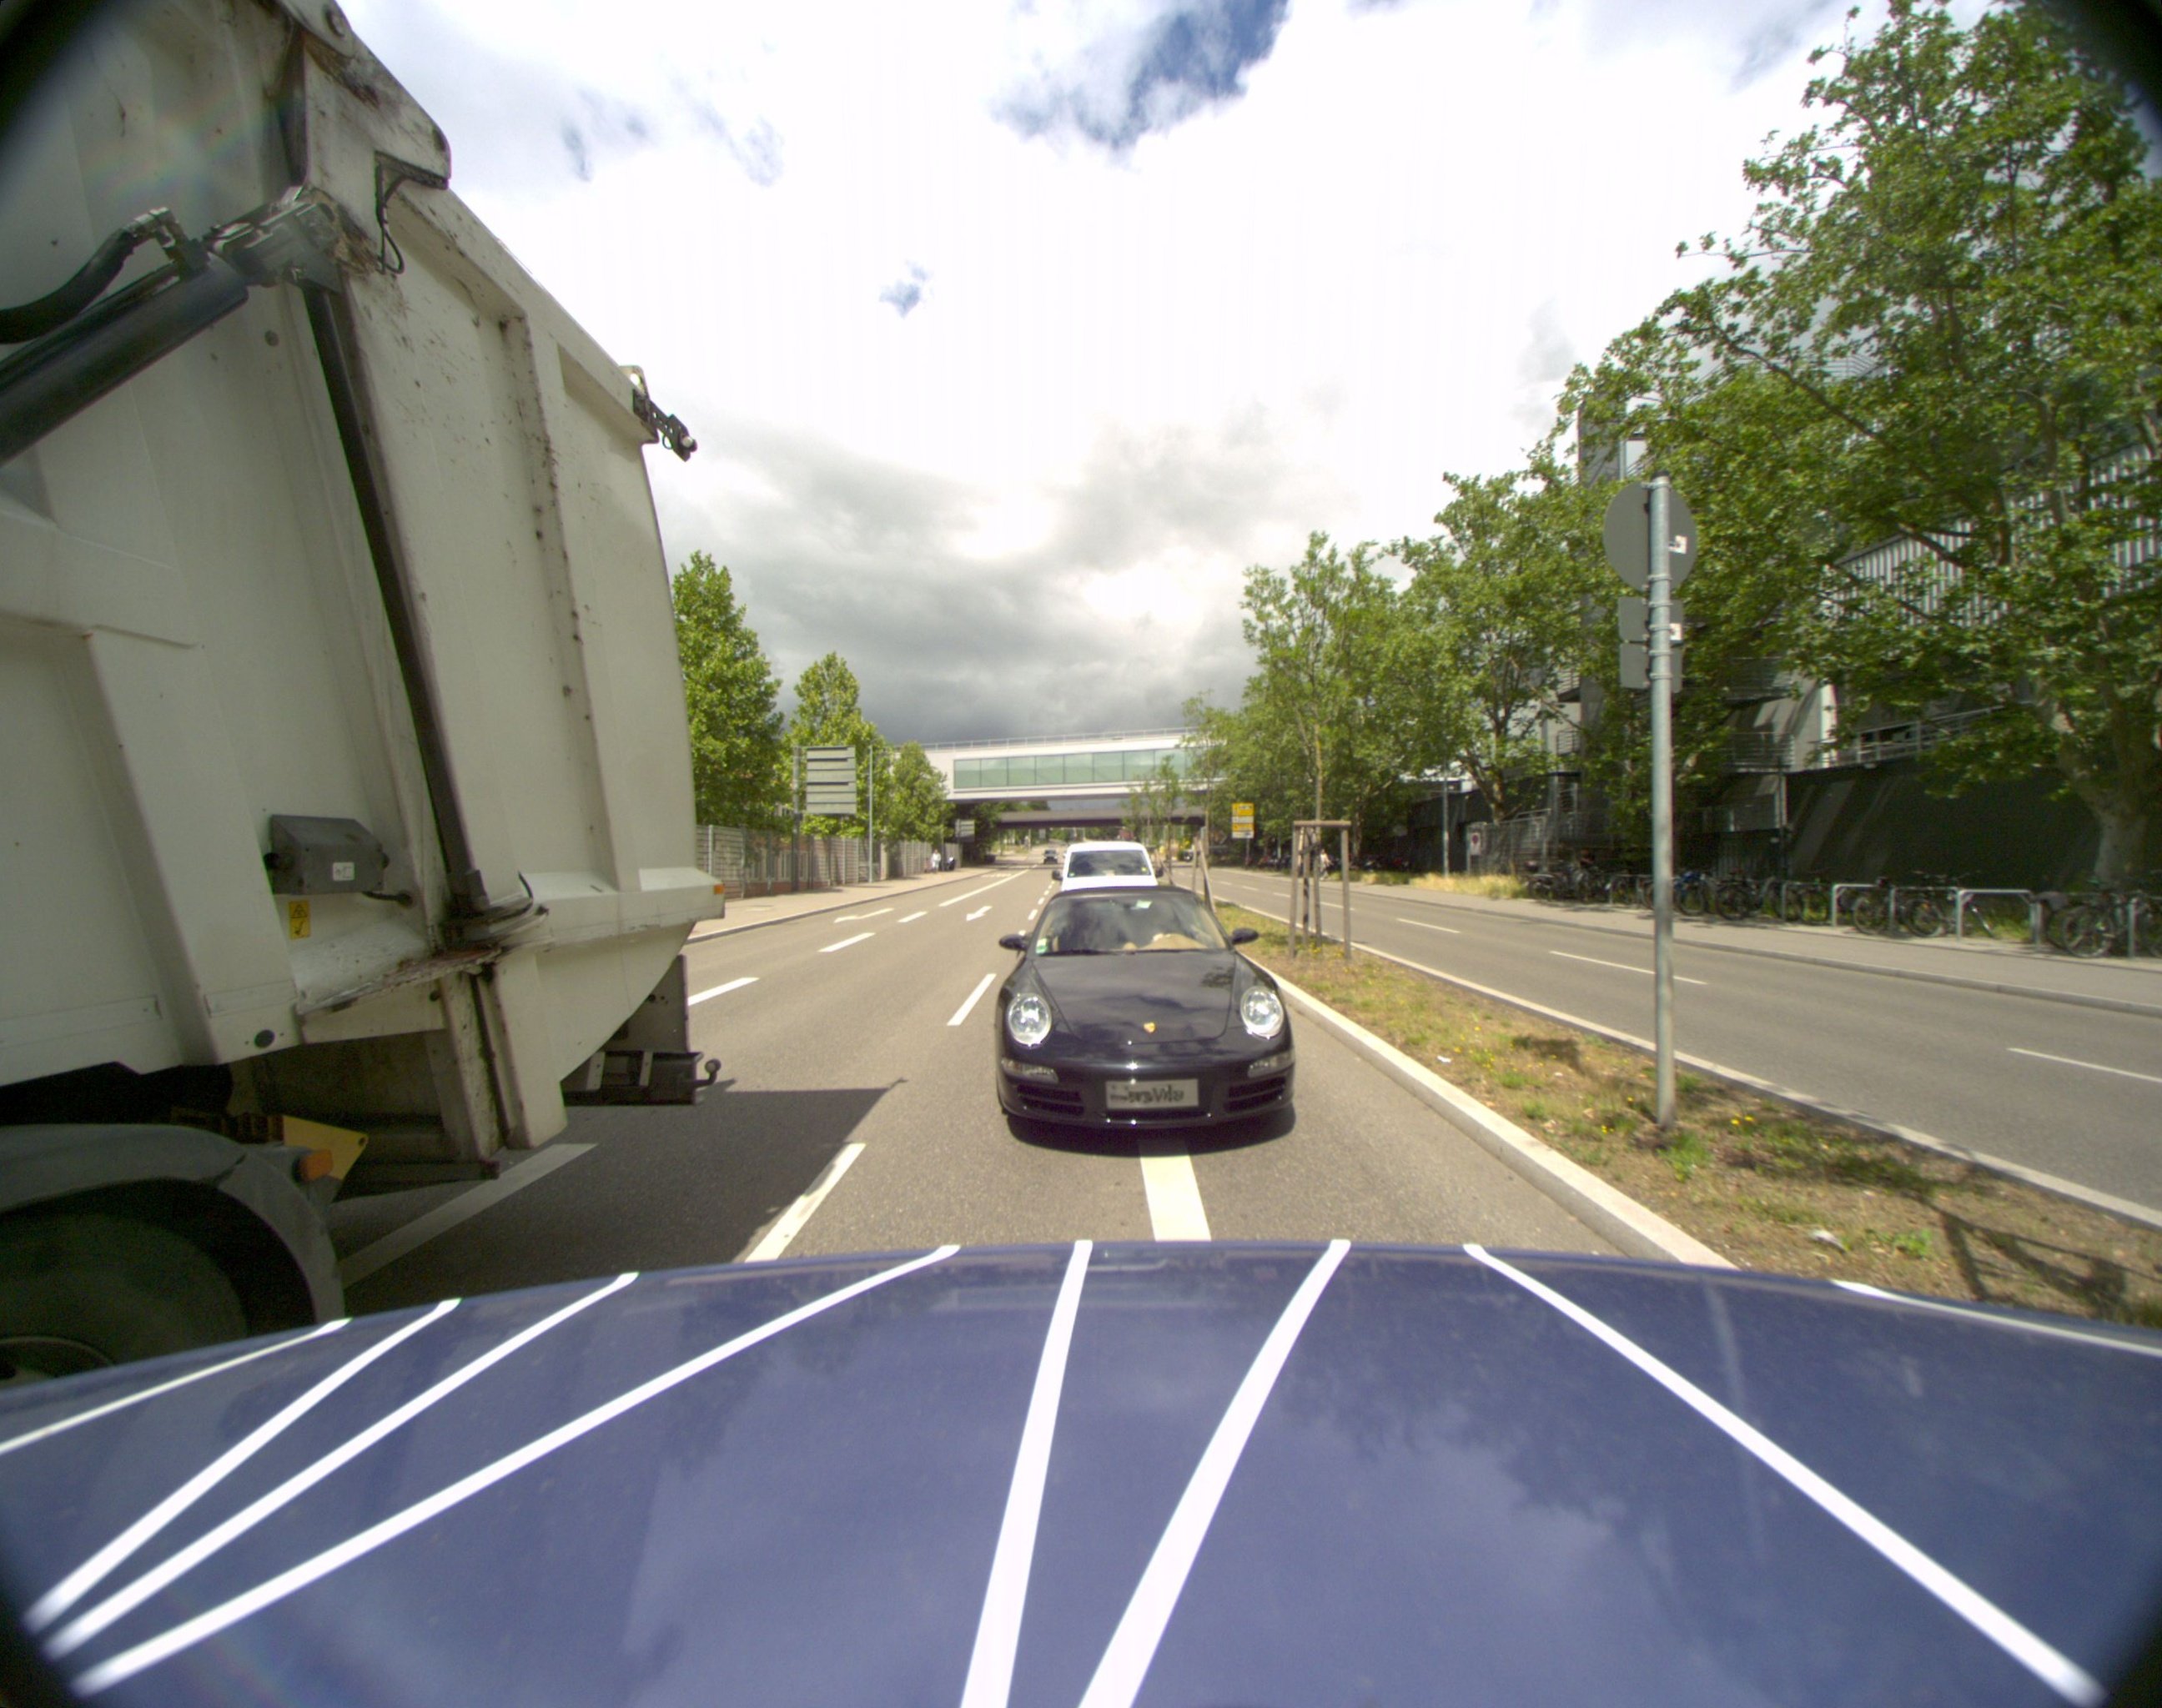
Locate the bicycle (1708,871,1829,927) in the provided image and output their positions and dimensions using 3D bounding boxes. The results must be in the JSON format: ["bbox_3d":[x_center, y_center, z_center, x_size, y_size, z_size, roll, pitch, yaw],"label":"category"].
[{"bbox_3d":[14.501,0.944,16.046,2.129,1.104,0.382,-1,1,3],"label":"bicycle"}]

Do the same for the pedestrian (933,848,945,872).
[{"bbox_3d":[-11.271,0.461,60.444,0.739,1.901,0.658,-2,1,-2],"label":"pedestrian"}]

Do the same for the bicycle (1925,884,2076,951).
[{"bbox_3d":[14.753,1.014,12.206,1.993,0.992,0.382,-1,1,-1],"label":"bicycle"}]

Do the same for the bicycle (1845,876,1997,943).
[{"bbox_3d":[14.578,0.957,13.207,2.129,1.089,0.382,-1,1,3],"label":"bicycle"}]

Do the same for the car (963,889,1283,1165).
[{"bbox_3d":[0.252,1.031,6.035,1.710,1.280,3.806,-1,0,1],"label":"car"}]

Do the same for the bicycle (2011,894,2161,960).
[{"bbox_3d":[14.957,1.072,11.227,1.993,0.885,0.382,-1,1,-1],"label":"bicycle"}]

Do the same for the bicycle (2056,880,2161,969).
[{"bbox_3d":[14.354,0.928,10.224,1.993,1.121,0.382,-1,1,-1],"label":"bicycle"}]

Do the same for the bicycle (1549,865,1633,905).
[{"bbox_3d":[14.754,0.902,22.007,2.129,1.104,0.382,-1,1,3],"label":"bicycle"}]

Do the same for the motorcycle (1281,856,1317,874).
[{"bbox_3d":[14.031,0.713,48.927,2.133,1.131,0.534,-1,0,1],"label":"motorcycle"}]

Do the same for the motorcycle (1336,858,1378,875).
[{"bbox_3d":[15.383,0.674,42.365,2.133,0.893,0.534,-1,0,1],"label":"motorcycle"}]

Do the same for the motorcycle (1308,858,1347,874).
[{"bbox_3d":[14.504,0.721,44.739,2.133,0.880,0.534,-1,0,1],"label":"motorcycle"}]

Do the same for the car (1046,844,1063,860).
[{"bbox_3d":[-3.646,-0.247,105.239,1.925,2.082,4.657,-1,0,2],"label":"car"}]

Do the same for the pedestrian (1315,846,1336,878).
[{"bbox_3d":[13.255,0.407,41.249,0.900,1.710,0.673,-1,1,1],"label":"pedestrian"}]

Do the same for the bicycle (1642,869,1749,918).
[{"bbox_3d":[14.505,0.925,17.957,2.129,1.104,0.382,-1,1,3],"label":"bicycle"}]

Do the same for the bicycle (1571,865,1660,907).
[{"bbox_3d":[14.822,0.881,21.084,2.129,1.104,0.382,-1,1,3],"label":"bicycle"}]

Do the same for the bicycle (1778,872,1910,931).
[{"bbox_3d":[15.042,0.927,15.007,2.129,1.104,0.382,-1,1,3],"label":"bicycle"}]

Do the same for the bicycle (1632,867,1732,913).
[{"bbox_3d":[15.065,0.896,19.072,2.129,1.104,0.382,-1,1,3],"label":"bicycle"}]

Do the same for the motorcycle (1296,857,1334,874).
[{"bbox_3d":[14.102,0.701,45.846,2.133,0.963,0.534,-1,0,1],"label":"motorcycle"}]

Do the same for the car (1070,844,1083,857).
[{"bbox_3d":[-0.623,-0.545,119.883,1.862,1.800,4.357,-3,0,1],"label":"car"}]

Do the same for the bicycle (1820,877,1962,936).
[{"bbox_3d":[15.011,0.970,14.101,2.129,1.025,0.382,-1,1,3],"label":"bicycle"}]

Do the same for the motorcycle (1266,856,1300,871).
[{"bbox_3d":[13.754,0.625,51.816,2.133,0.963,0.534,-1,0,1],"label":"motorcycle"}]

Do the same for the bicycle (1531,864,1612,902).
[{"bbox_3d":[14.749,0.866,22.849,2.129,1.104,0.382,-1,1,3],"label":"bicycle"}]

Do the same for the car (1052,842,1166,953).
[{"bbox_3d":[0.507,0.721,15.126,1.862,1.800,4.906,-1,0,1],"label":"car"}]

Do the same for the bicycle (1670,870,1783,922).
[{"bbox_3d":[14.480,0.933,17.070,2.129,1.104,0.382,-1,1,3],"label":"bicycle"}]

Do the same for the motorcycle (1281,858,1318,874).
[{"bbox_3d":[13.634,0.764,47.477,2.133,0.963,0.534,-1,0,1],"label":"motorcycle"}]
